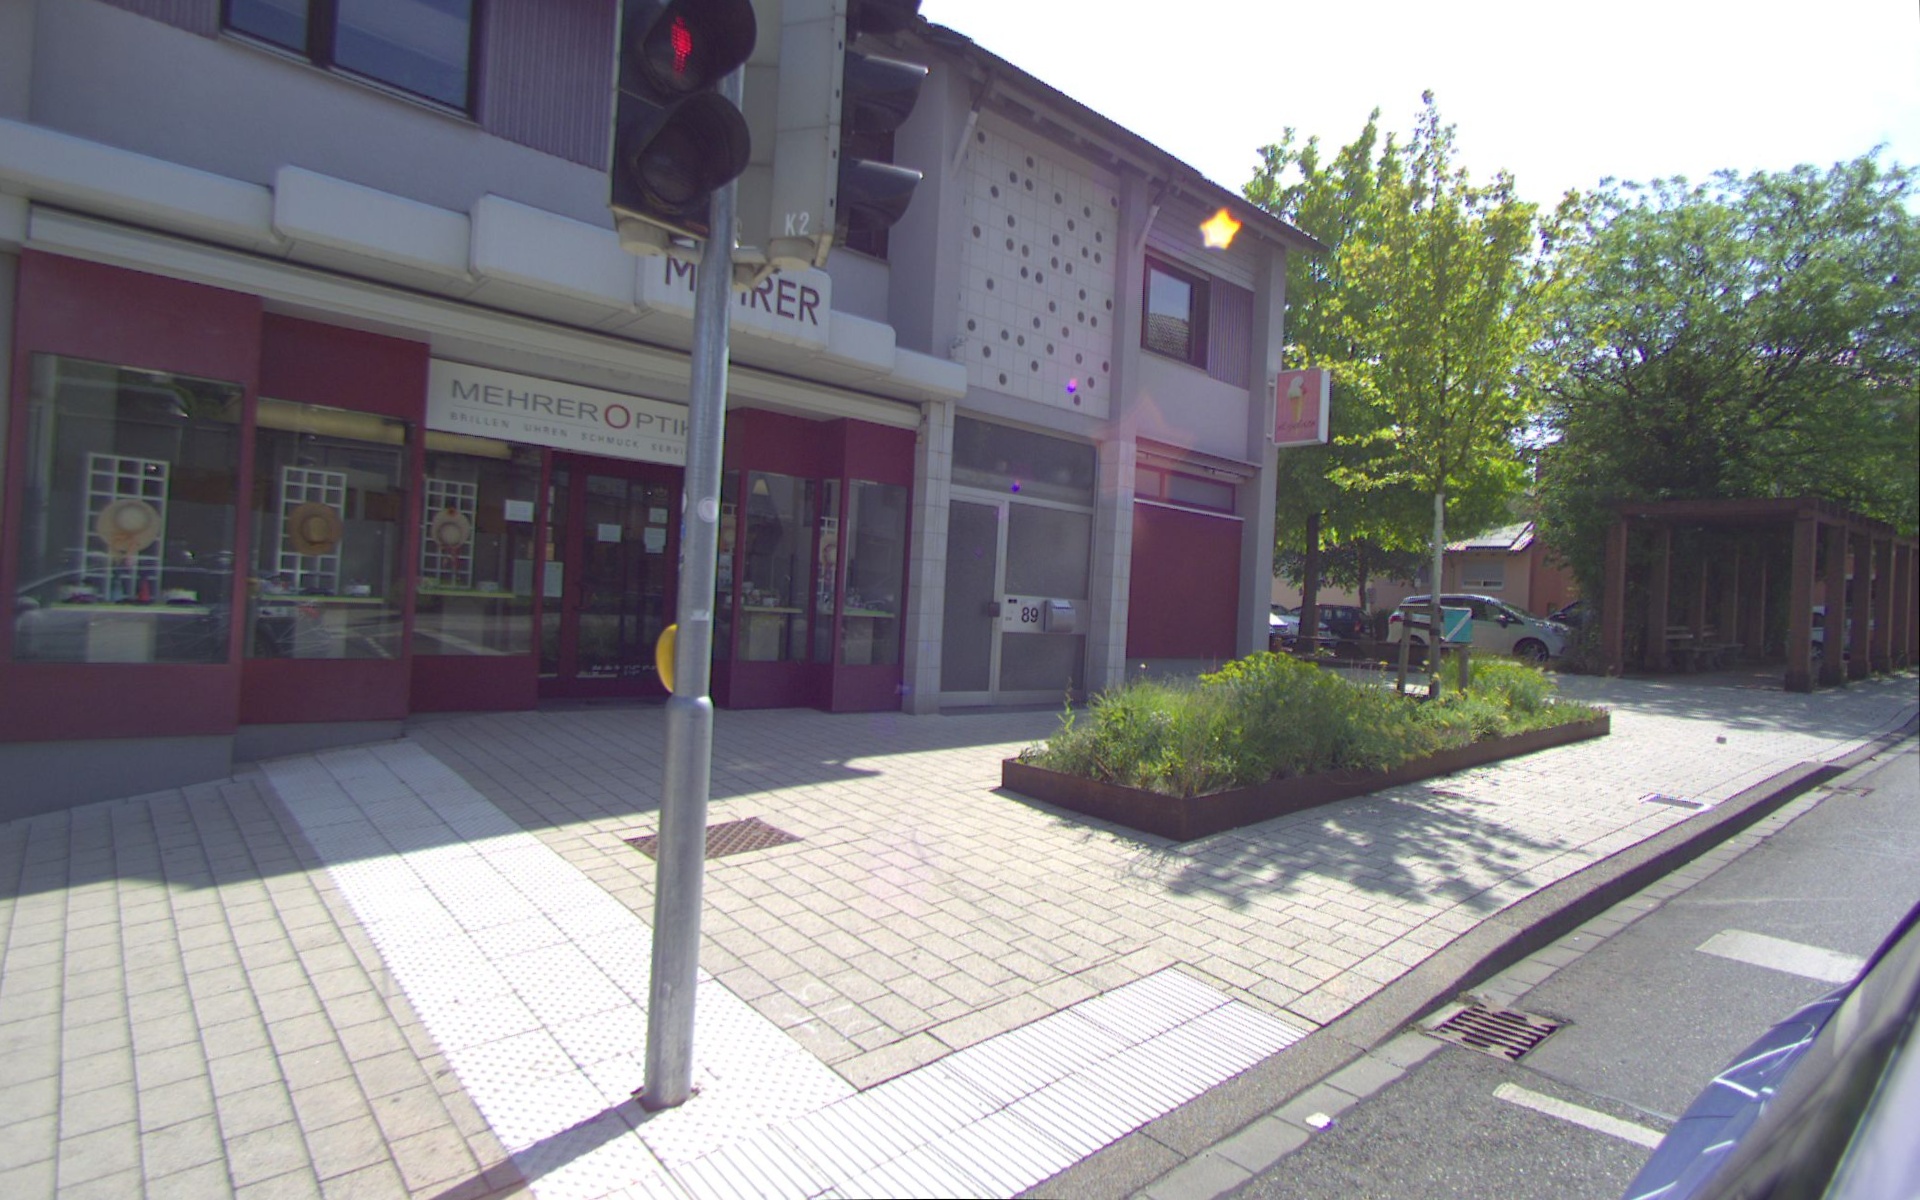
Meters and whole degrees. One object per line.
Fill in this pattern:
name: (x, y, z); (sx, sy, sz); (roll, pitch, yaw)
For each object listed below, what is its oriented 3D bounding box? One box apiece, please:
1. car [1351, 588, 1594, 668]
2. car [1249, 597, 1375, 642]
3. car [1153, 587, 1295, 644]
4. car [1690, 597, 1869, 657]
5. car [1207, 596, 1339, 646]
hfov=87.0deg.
car: (11.167, 0.544, 22.294); (1.695, 1.564, 4.487); (1, 0, -42)
car: (12.105, 0.634, 34.945); (1.494, 1.449, 3.876); (1, 0, -42)
car: (8.162, 0.448, 31.516); (1.726, 1.632, 3.977); (1, 0, -42)
car: (26.419, 0.916, 32.762); (1.778, 1.777, 4.098); (1, -4, -35)
car: (10.190, 0.642, 33.128); (1.626, 1.509, 3.876); (1, 0, -42)
